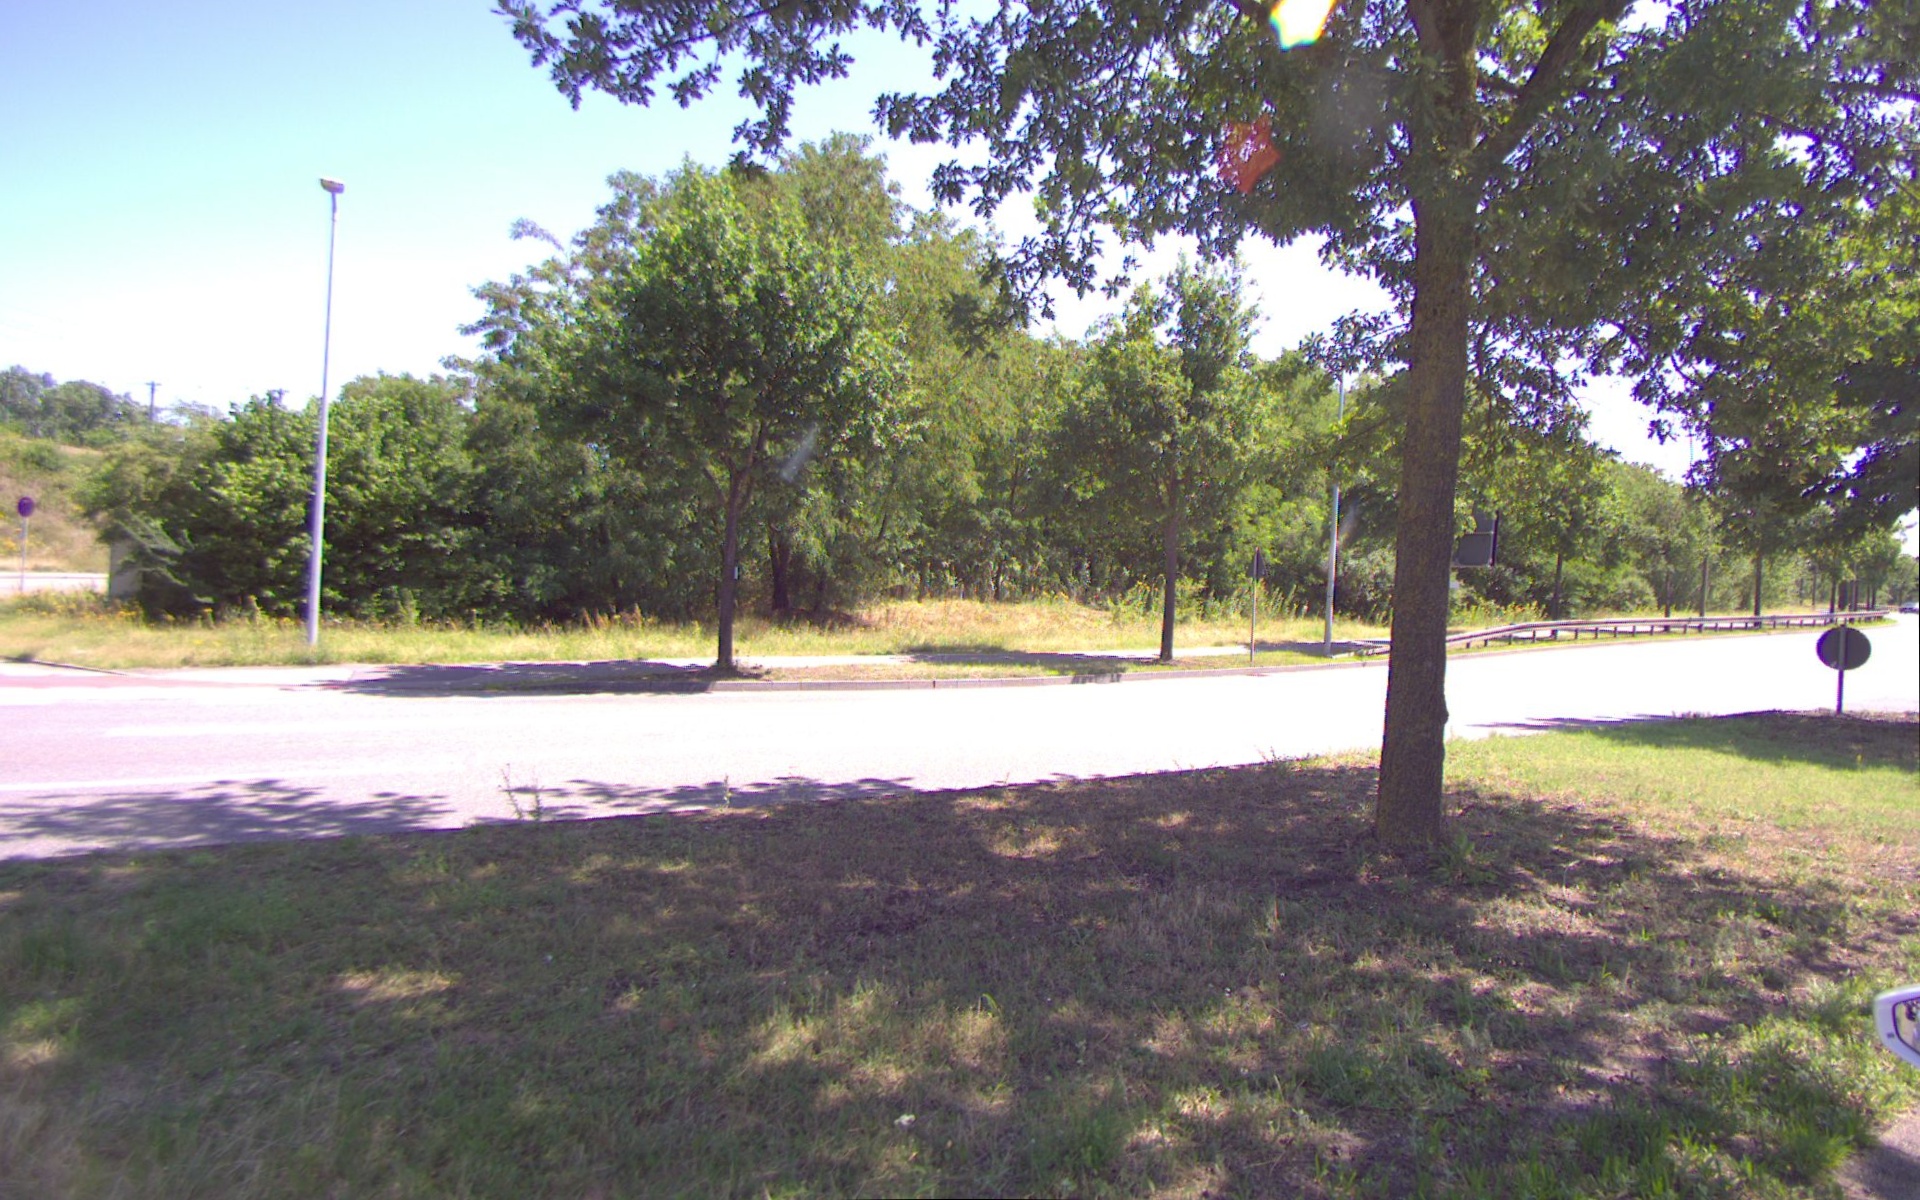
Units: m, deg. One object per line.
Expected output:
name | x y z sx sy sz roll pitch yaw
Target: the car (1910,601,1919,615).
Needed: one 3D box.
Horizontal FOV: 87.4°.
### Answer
car | 98.804 0.836 103.262 3.614 1.331 1.442 3 0 -44
